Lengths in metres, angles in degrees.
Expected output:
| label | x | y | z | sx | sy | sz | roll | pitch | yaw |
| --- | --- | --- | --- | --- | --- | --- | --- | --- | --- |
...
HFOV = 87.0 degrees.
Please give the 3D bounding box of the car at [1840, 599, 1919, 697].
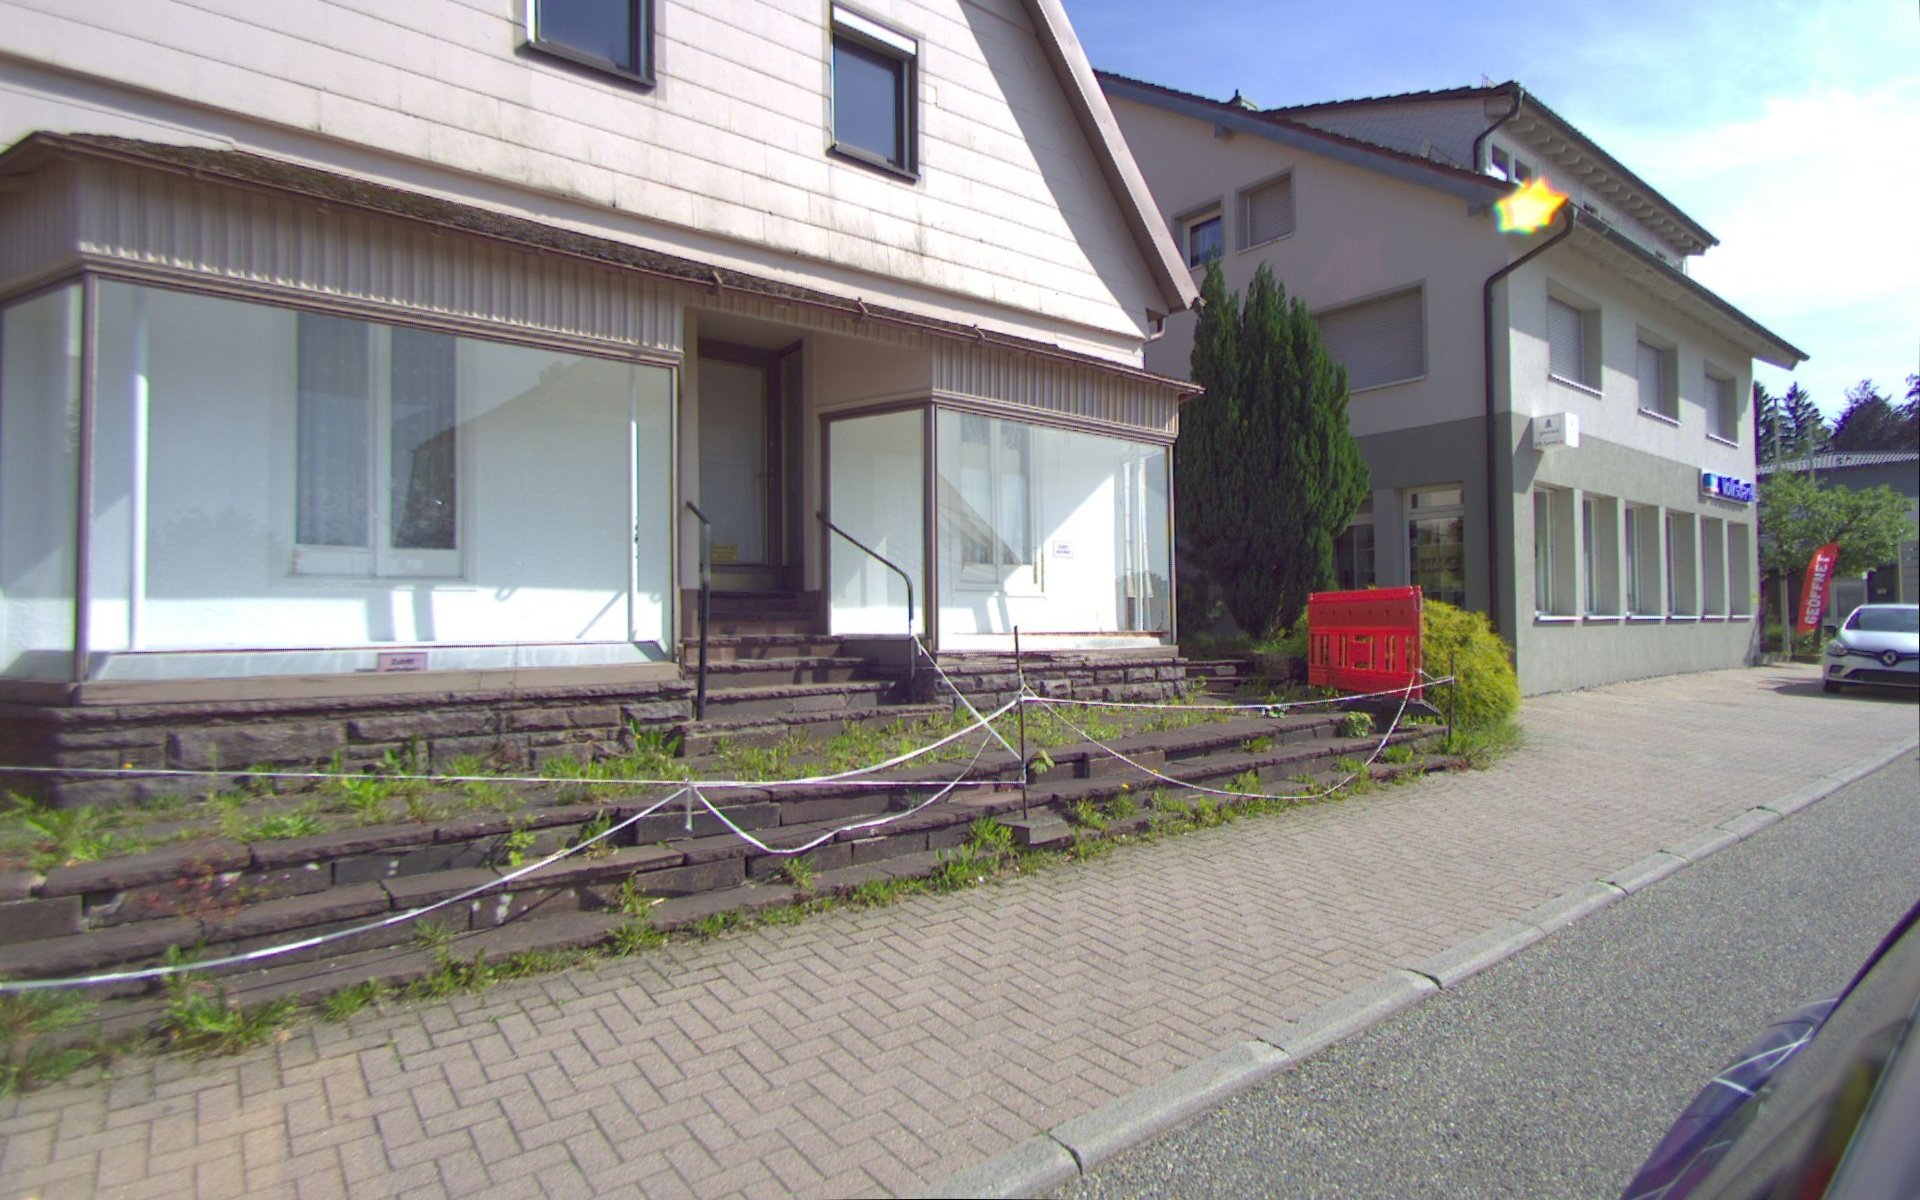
| label | x | y | z | sx | sy | sz | roll | pitch | yaw |
| --- | --- | --- | --- | --- | --- | --- | --- | --- | --- |
| car | 15.469 | 0.719 | 16.277 | 3.869 | 1.438 | 1.637 | 0 | 0 | -43 |
